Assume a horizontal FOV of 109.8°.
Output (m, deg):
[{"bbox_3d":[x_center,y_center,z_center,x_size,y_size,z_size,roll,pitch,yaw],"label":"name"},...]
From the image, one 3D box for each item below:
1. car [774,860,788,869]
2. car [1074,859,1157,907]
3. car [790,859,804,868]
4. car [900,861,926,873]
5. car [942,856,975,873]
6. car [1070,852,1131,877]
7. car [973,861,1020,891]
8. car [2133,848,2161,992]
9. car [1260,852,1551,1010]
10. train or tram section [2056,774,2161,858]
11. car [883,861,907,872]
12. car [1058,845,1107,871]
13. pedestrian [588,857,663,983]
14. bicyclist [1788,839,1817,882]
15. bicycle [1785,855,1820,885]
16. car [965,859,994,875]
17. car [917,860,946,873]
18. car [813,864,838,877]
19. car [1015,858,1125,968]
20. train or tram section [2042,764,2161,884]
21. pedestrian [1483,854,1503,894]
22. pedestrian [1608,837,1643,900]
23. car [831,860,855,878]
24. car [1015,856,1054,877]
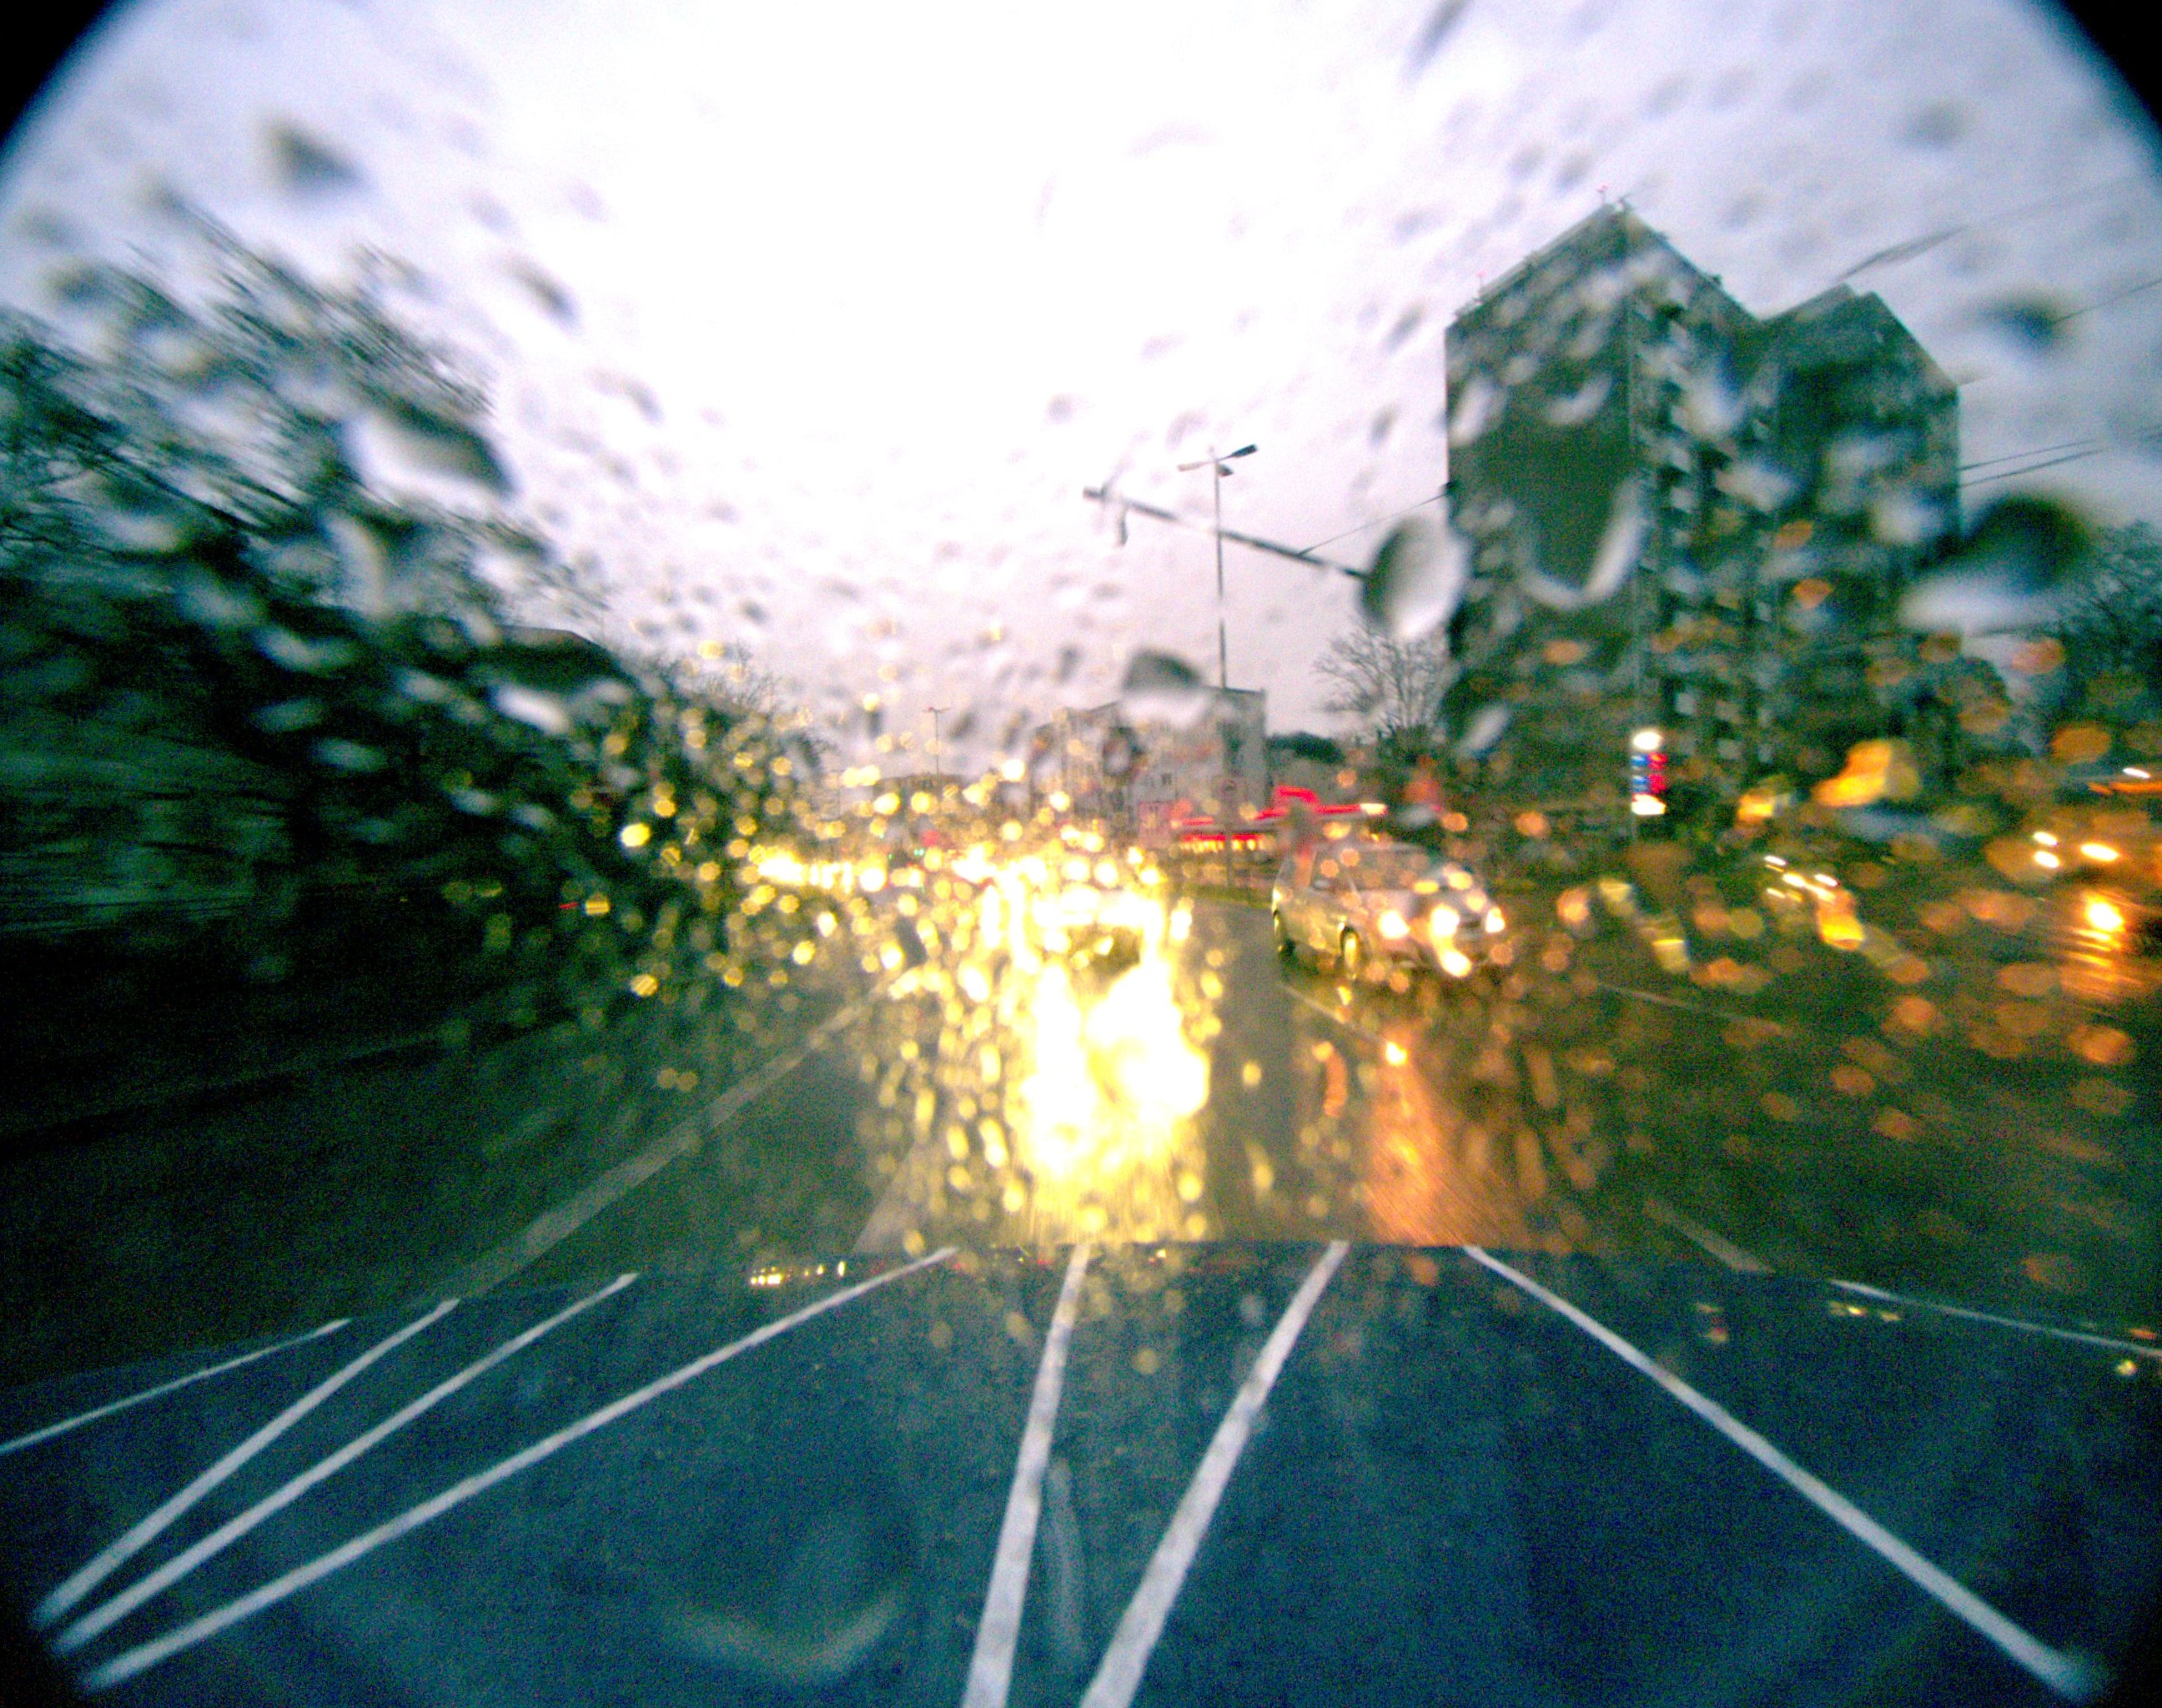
[{"bbox_3d":[-55.435,1.990,140.333,2.003,1.526,3.991,-3,0,-28],"label":"car"},{"bbox_3d":[1.131,0.972,26.809,1.755,1.535,3.995,-1,0,-15],"label":"car"},{"bbox_3d":[-53.167,1.860,142.270,2.003,1.599,3.991,-3,0,-28],"label":"car"},{"bbox_3d":[-20.701,1.648,93.613,1.972,1.378,4.524,-1,-1,-29],"label":"car"},{"bbox_3d":[-13.002,1.105,80.320,1.972,1.772,4.524,-1,-1,-28],"label":"car"},{"bbox_3d":[1.179,0.664,47.302,1.652,1.441,3.841,-2,1,-39],"label":"car"},{"bbox_3d":[-5.209,1.332,46.572,1.822,1.732,4.179,-1,0,-21],"label":"car"},{"bbox_3d":[12.195,0.646,6.102,1.686,1.449,4.057,-2,0,-14],"label":"car"},{"bbox_3d":[3.786,0.772,9.745,1.650,1.539,4.107,-2,0,-5],"label":"car"},{"bbox_3d":[45.694,-1.722,33.464,11.170,3.219,3.161,-3,1,-37],"label":"train or tram section"},{"bbox_3d":[-24.944,1.666,101.818,1.972,1.378,4.524,-1,-1,-29],"label":"car"},{"bbox_3d":[0.077,0.338,61.315,2.003,1.934,4.844,1,-1,-27],"label":"car"},{"bbox_3d":[-6.888,0.982,11.522,0.574,1.827,0.683,4,-1,-1],"label":"pedestrian"},{"bbox_3d":[23.624,0.204,24.900,0.505,1.382,0.971,-2,1,35],"label":"bicyclist"},{"bbox_3d":[23.639,0.503,24.907,0.505,0.894,1.989,-2,0,35],"label":"bicycle"},{"bbox_3d":[-9.959,1.242,74.137,1.653,1.478,3.992,-1,-1,-26],"label":"car"},{"bbox_3d":[-17.209,1.438,87.187,1.972,1.505,4.524,-1,-1,-29],"label":"car"},{"bbox_3d":[-29.414,1.880,87.360,1.972,1.378,4.524,-1,-1,-29],"label":"car"},{"bbox_3d":[-0.248,0.920,13.636,1.650,1.575,3.803,-2,1,-2],"label":"car"},{"bbox_3d":[34.733,-1.131,25.189,16.336,3.170,3.161,-3,1,-37],"label":"train or tram section"},{"bbox_3d":[18.844,0.897,34.741,0.629,1.782,0.531,-3,1,-41],"label":"pedestrian"},{"bbox_3d":[15.446,0.409,21.559,0.468,1.762,0.628,-2,1,-7],"label":"pedestrian"},{"bbox_3d":[-29.005,1.824,92.603,2.003,2.002,3.991,-1,0,-28],"label":"car"},{"bbox_3d":[-3.776,0.992,60.708,1.652,1.620,4.651,-1,-1,-23],"label":"car"}]
